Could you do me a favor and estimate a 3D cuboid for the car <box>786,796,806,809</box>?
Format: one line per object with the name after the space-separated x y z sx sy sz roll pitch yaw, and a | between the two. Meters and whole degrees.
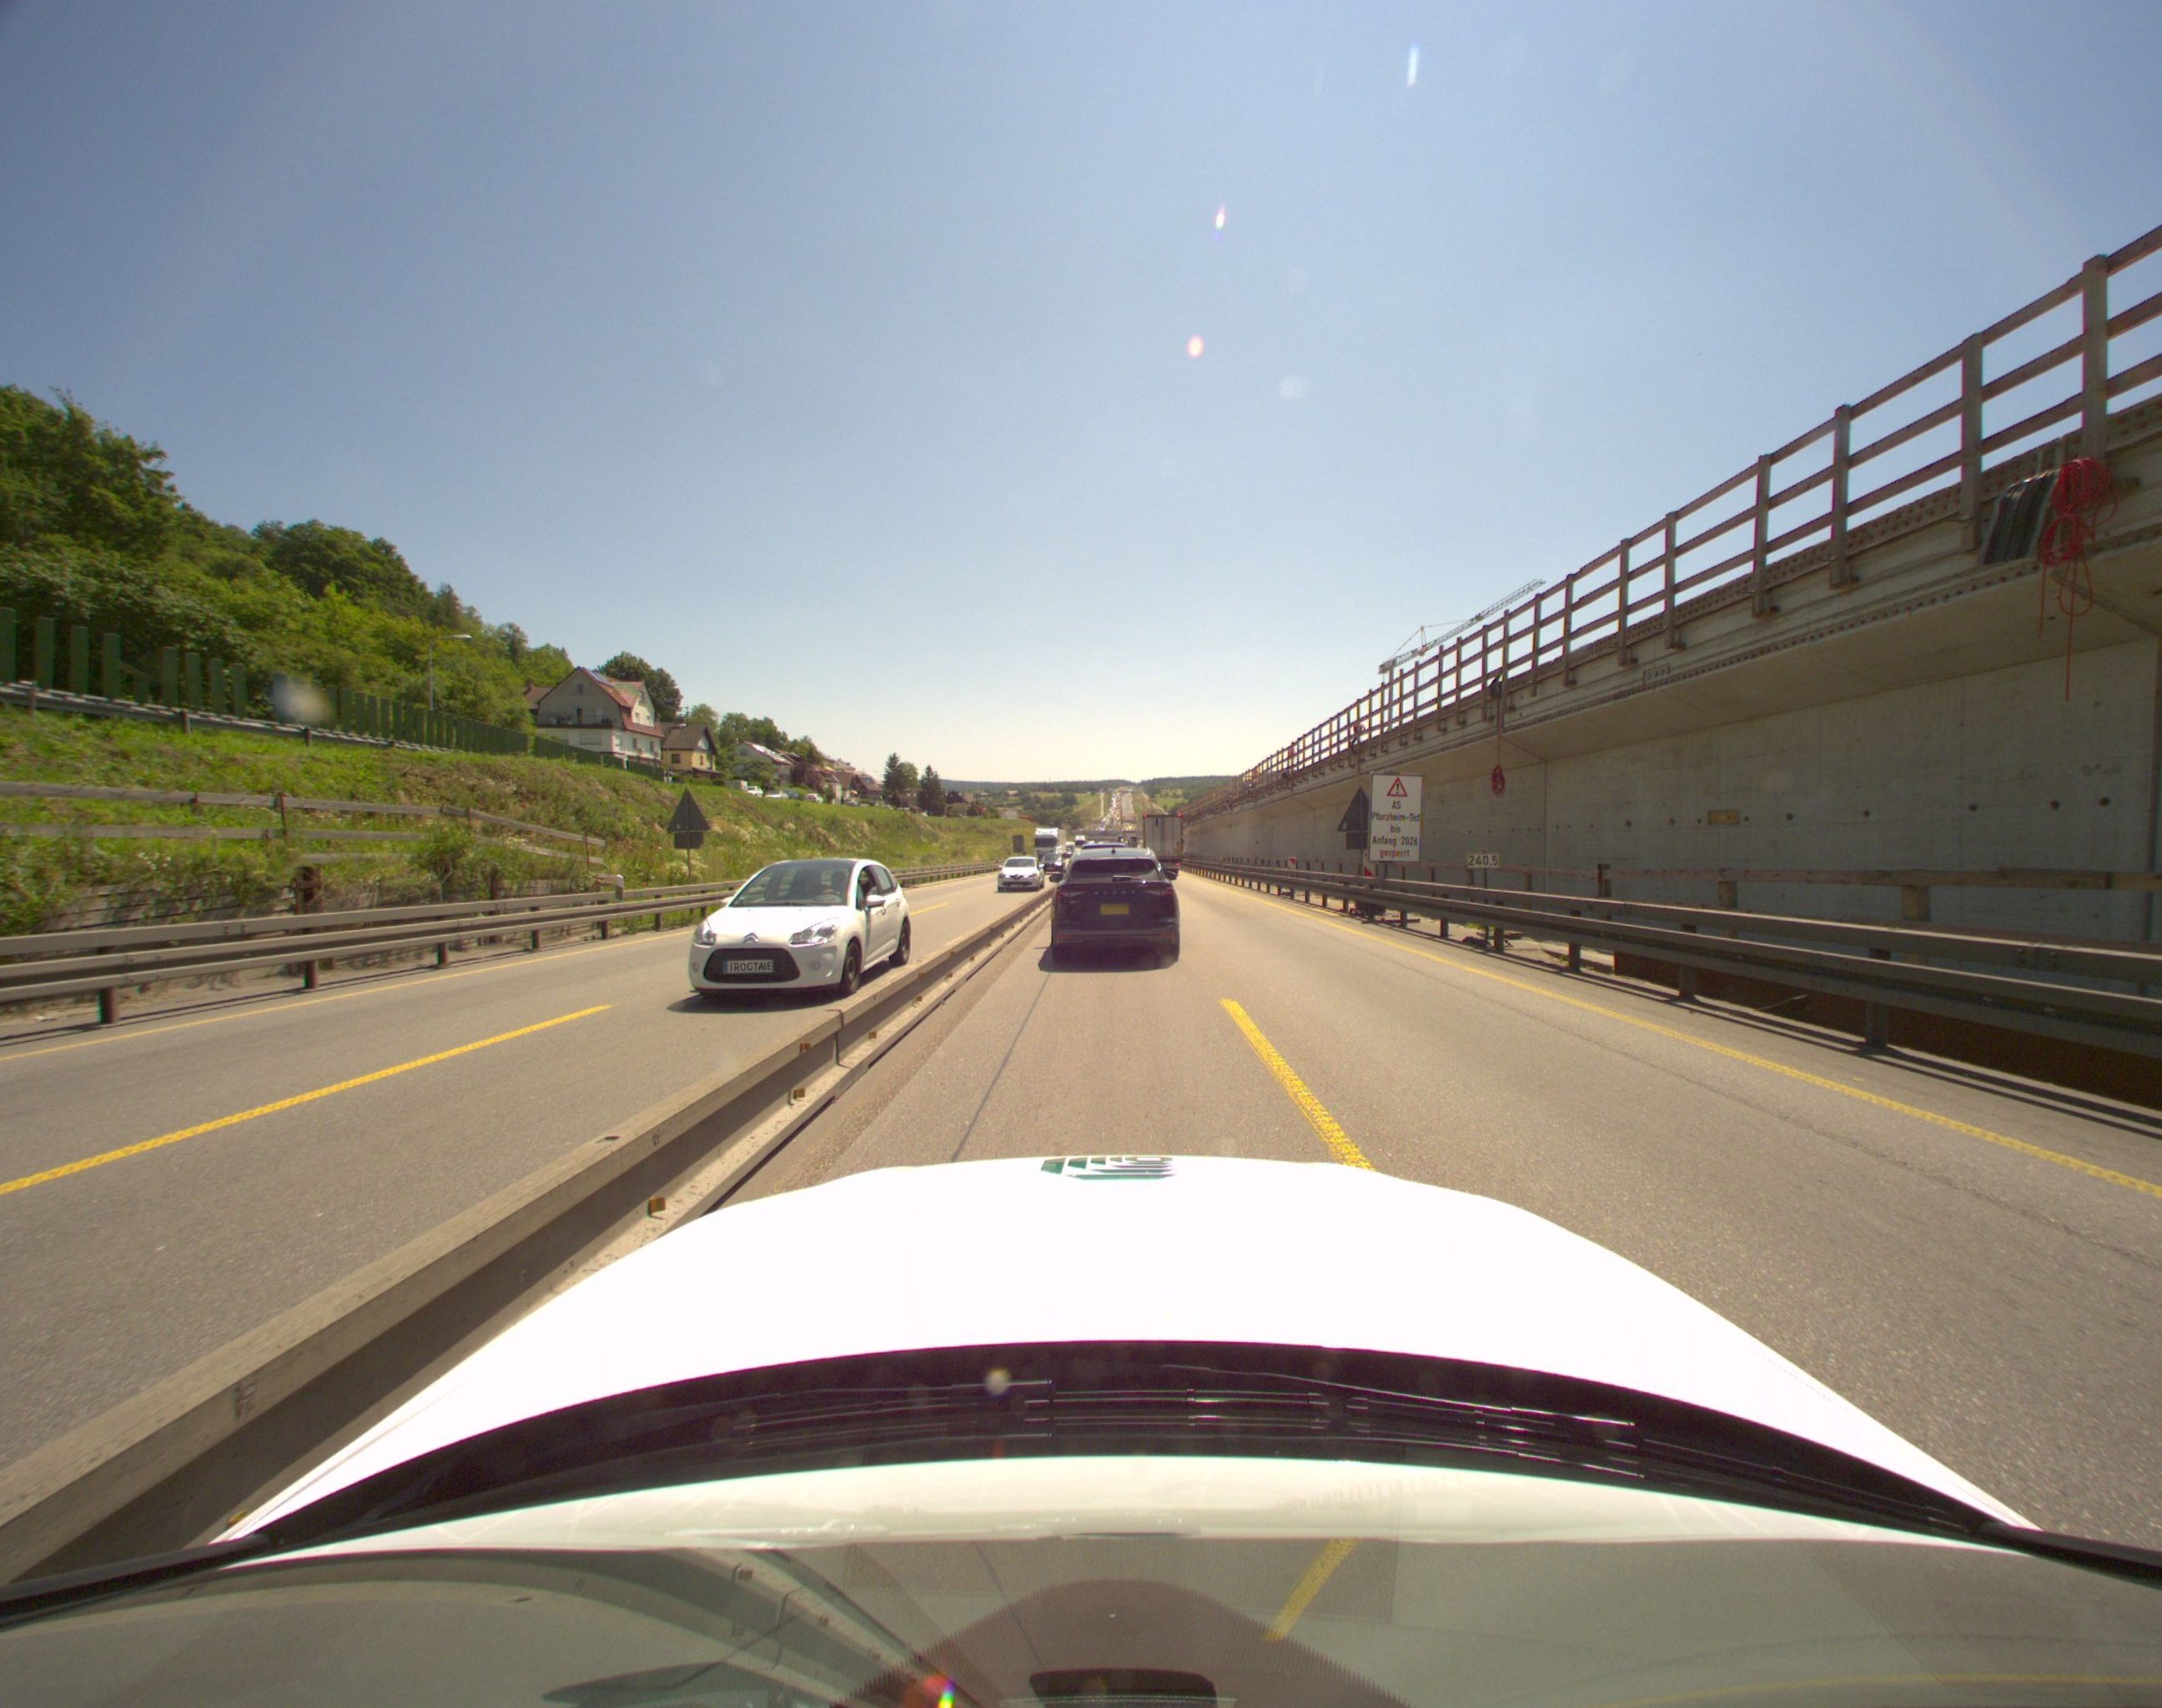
-35.100 -6.336 100.316 1.590 1.419 3.989 -1 0 -8 | car

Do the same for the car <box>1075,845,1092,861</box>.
0.313 -0.125 95.555 1.769 1.820 4.435 -1 0 2 | car

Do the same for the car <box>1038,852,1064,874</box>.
-2.272 0.656 62.074 1.694 1.561 4.104 -1 0 1 | car

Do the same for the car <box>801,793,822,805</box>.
-36.948 -7.557 111.764 1.993 1.319 3.988 3 -1 -9 | car

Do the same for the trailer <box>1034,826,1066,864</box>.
-3.590 -0.960 97.039 3.210 4.158 13.406 -1 0 0 | trailer

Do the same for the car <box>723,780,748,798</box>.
-33.854 -6.337 79.829 1.731 1.398 3.781 1 0 -16 | car

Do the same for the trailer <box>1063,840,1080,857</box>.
-1.631 -0.875 138.832 2.474 2.613 5.871 -2 -1 3 | trailer

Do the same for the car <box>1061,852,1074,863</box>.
-2.116 0.563 130.722 1.740 1.585 4.001 3 -1 2 | car

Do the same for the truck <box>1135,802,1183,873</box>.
5.422 -0.975 58.658 2.834 4.615 11.817 0 -1 2 | truck

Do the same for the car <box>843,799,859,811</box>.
-37.047 -7.844 131.238 1.924 1.728 3.988 -1 0 -8 | car

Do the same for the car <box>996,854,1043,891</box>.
-2.580 0.754 34.960 1.685 1.486 3.750 -1 0 0 | car

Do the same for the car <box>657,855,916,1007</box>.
-3.340 0.770 10.088 1.760 1.486 3.865 -1 0 0 | car

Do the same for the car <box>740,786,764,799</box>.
-34.182 -6.368 84.638 1.277 1.039 3.270 -1 0 -4 | car

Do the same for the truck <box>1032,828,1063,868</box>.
-3.604 -0.599 90.165 3.170 4.238 6.483 0 -1 0 | truck

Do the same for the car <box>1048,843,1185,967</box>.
0.492 0.675 12.573 1.776 1.597 3.755 -1 0 1 | car

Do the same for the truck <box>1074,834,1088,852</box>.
0.013 -2.676 193.195 2.742 4.227 8.105 0 0 3 | truck

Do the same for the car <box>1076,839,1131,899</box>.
0.738 0.498 28.543 1.744 1.895 3.754 2 0 0 | car
